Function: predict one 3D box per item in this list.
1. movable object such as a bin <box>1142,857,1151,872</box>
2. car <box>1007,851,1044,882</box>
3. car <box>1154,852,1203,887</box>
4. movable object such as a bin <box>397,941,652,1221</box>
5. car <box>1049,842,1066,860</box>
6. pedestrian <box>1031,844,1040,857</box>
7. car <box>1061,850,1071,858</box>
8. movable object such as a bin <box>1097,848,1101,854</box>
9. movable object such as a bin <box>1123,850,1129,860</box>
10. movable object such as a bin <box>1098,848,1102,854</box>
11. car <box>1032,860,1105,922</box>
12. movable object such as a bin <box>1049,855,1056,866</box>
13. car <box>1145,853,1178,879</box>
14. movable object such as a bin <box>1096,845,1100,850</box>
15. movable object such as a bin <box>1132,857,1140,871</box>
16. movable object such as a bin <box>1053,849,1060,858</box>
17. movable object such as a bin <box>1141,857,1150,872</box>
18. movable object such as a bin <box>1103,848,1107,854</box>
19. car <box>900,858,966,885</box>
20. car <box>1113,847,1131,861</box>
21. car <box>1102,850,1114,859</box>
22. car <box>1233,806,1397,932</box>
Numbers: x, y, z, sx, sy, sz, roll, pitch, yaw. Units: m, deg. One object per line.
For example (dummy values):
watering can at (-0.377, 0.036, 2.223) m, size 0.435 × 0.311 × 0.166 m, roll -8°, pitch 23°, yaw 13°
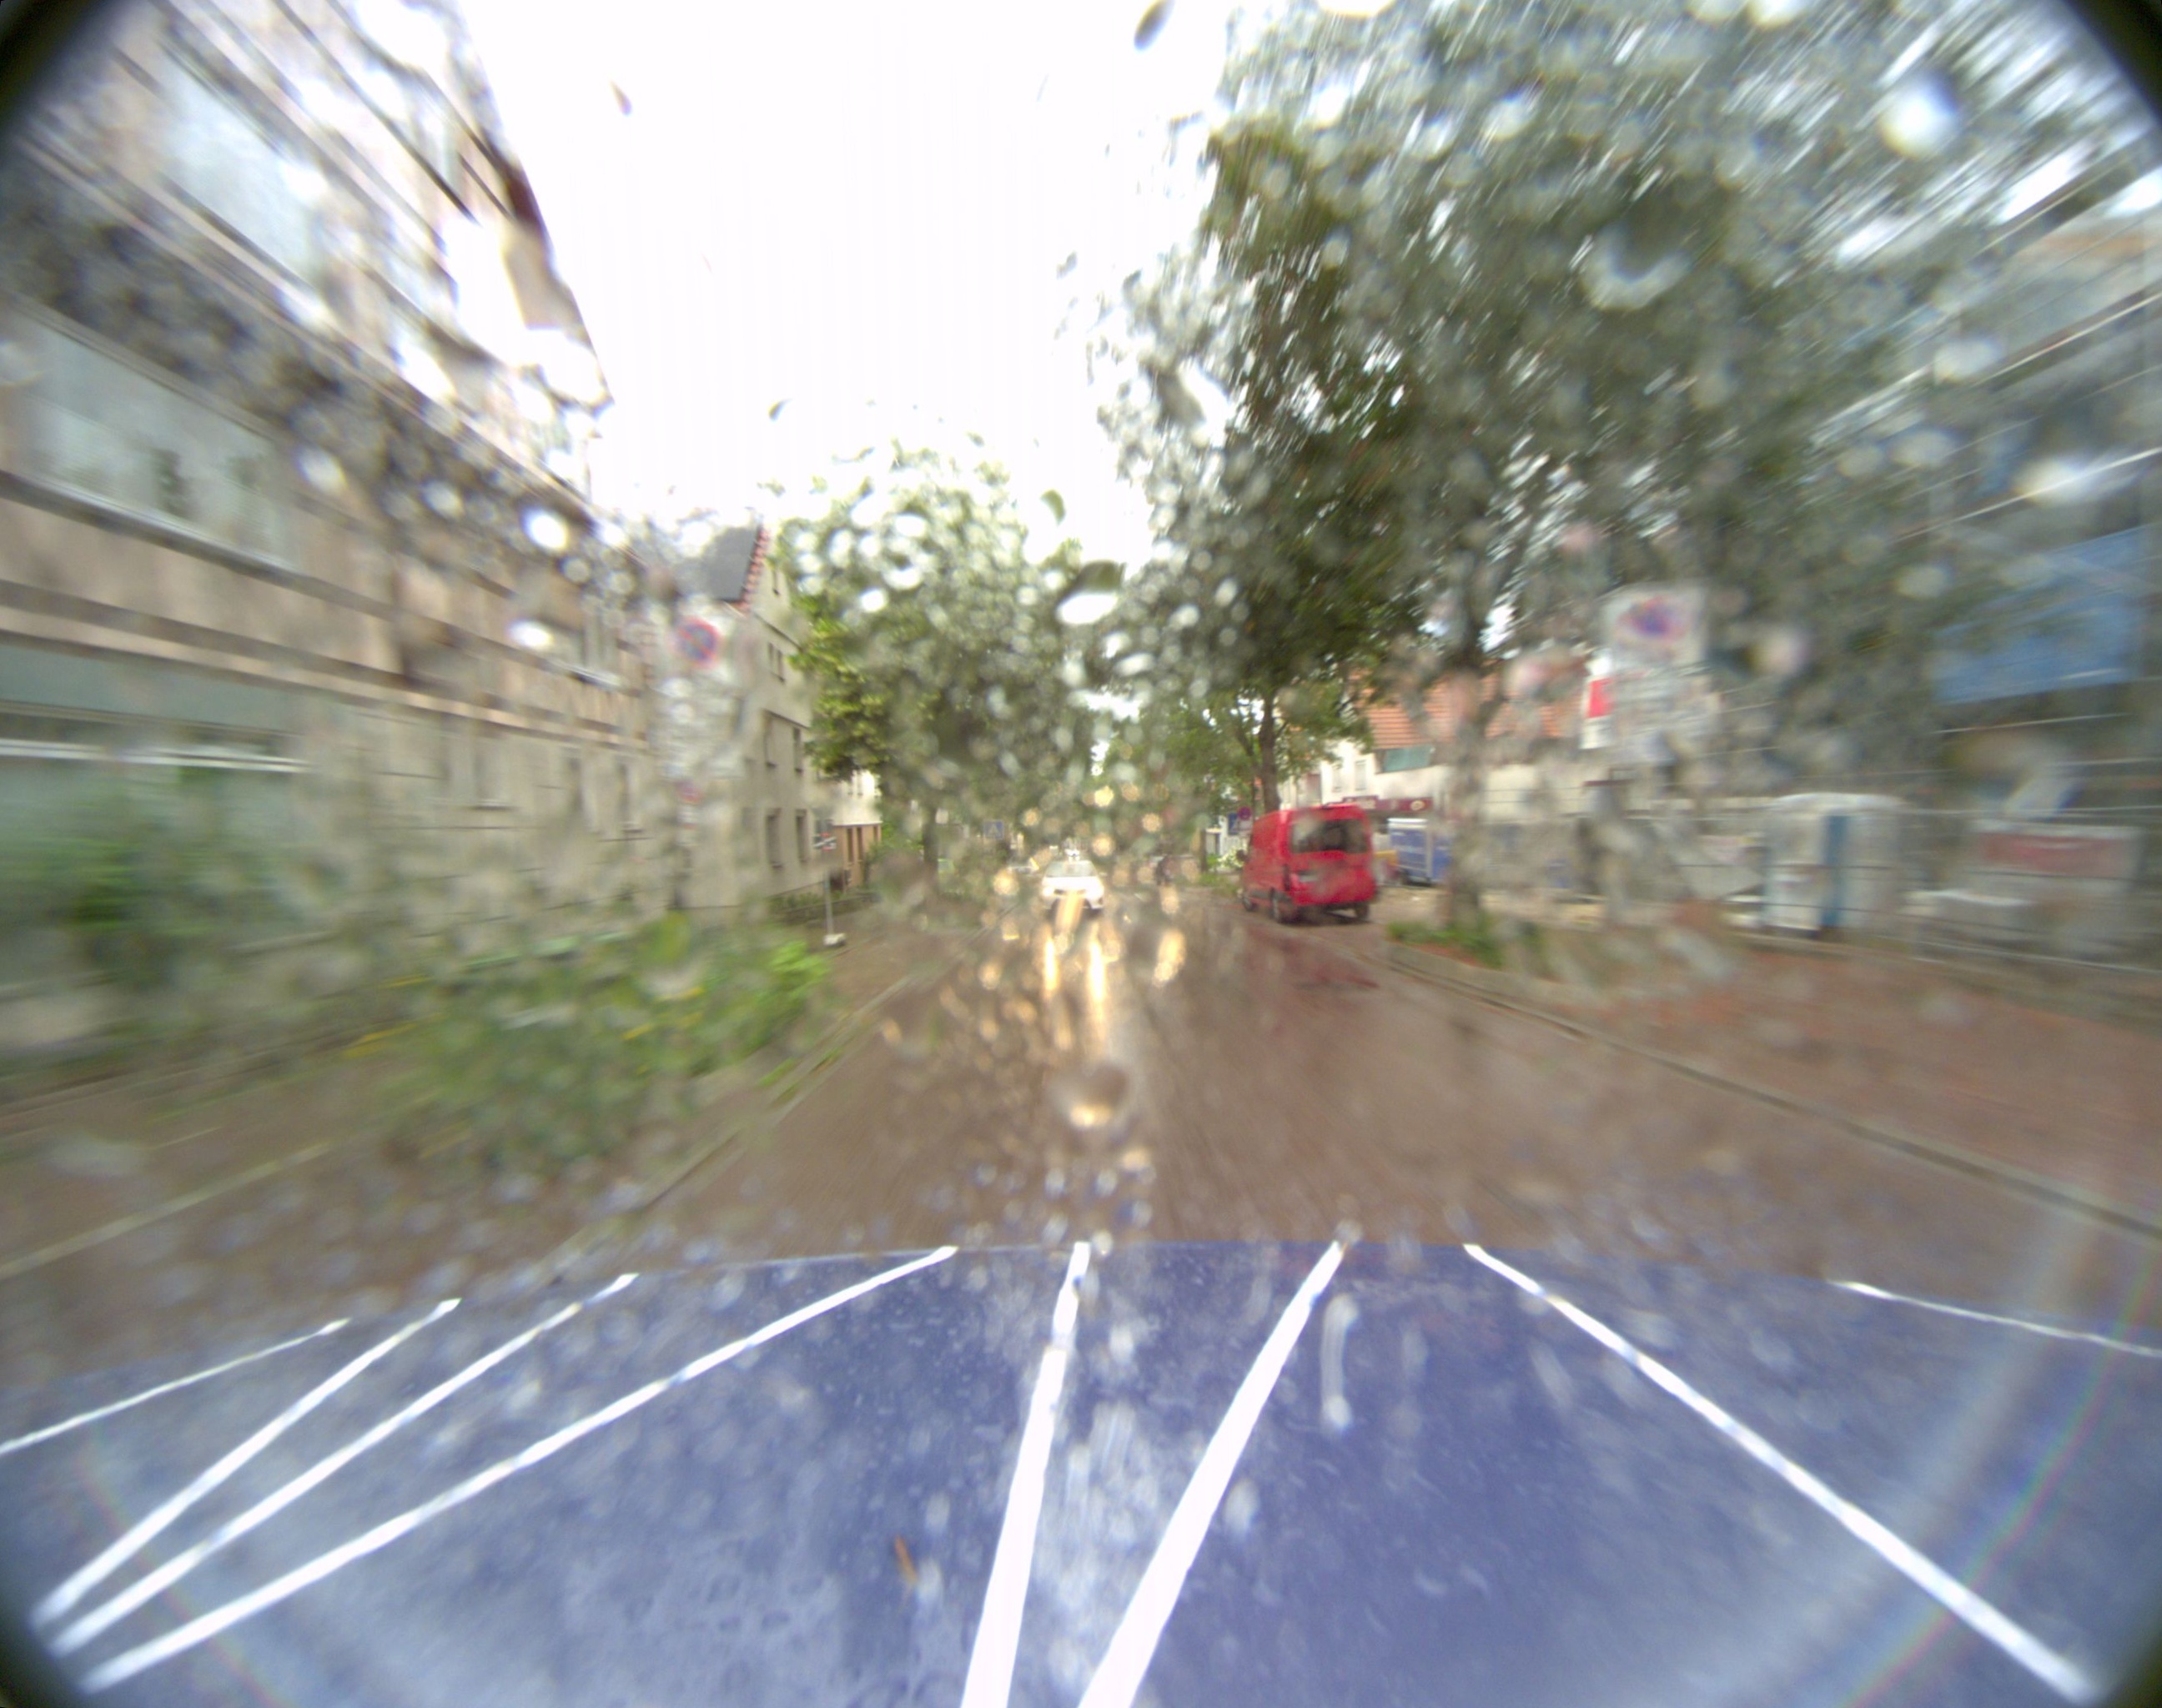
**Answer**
movable object such as a bin at (4.993, 0.804, 58.231) m, size 0.612 × 1.104 × 0.564 m, roll -1°, pitch 1°, yaw 1°
car at (-3.406, 0.719, 47.230) m, size 1.919 × 1.782 × 4.487 m, roll -2°, pitch 1°, yaw 0°
car at (4.794, 0.717, 37.871) m, size 1.776 × 1.544 × 3.999 m, roll -3°, pitch 0°, yaw -2°
movable object such as a bin at (-2.807, 1.104, 3.915) m, size 0.723 × 1.206 × 0.727 m, roll -2°, pitch 1°, yaw 0°
car at (-3.245, -0.456, 104.376) m, size 2.146 × 2.446 × 5.434 m, roll -2°, pitch 1°, yaw 0°
pedestrian at (-5.944, -0.480, 98.595) m, size 0.955 × 1.642 × 0.794 m, roll 0°, pitch 2°, yaw 13°
car at (-2.687, -0.009, 133.586) m, size 1.685 × 1.391 × 3.794 m, roll -1°, pitch 1°, yaw -1°
movable object such as a bin at (3.465, -0.567, 147.527) m, size 0.665 × 1.068 × 0.596 m, roll -1°, pitch 2°, yaw 4°
movable object such as a bin at (4.631, 0.104, 77.946) m, size 0.596 × 1.056 × 0.545 m, roll -4°, pitch 1°, yaw 3°
movable object such as a bin at (3.720, -0.550, 146.768) m, size 0.665 × 1.061 × 0.596 m, roll -1°, pitch 2°, yaw 4°
car at (-0.260, 0.957, 21.279) m, size 1.828 × 1.451 × 3.875 m, roll -2°, pitch 1°, yaw 2°
movable object such as a bin at (-2.779, 0.644, 75.291) m, size 0.645 × 1.076 × 0.540 m, roll -2°, pitch 1°, yaw -4°
car at (4.978, 0.715, 47.356) m, size 1.651 × 1.524 × 3.865 m, roll -3°, pitch 0°, yaw 2°
movable object such as a bin at (3.727, -1.367, 167.324) m, size 0.618 × 1.053 × 0.568 m, roll -4°, pitch 1°, yaw -2°
movable object such as a bin at (4.270, 0.773, 59.080) m, size 0.644 × 1.104 × 0.536 m, roll -1°, pitch 1°, yaw 1°
movable object such as a bin at (-3.076, -0.056, 95.872) m, size 0.799 × 1.069 × 0.878 m, roll -2°, pitch 1°, yaw -1°
movable object such as a bin at (5.011, 0.826, 58.884) m, size 0.612 × 1.104 × 0.564 m, roll -1°, pitch 1°, yaw 1°
movable object such as a bin at (4.658, -0.562, 146.673) m, size 0.665 × 1.068 × 0.596 m, roll -1°, pitch 2°, yaw 4°
car at (-8.119, 0.958, 41.963) m, size 3.374 × 1.422 × 1.630 m, roll 0°, pitch 1°, yaw -4°
car at (4.603, -0.028, 85.323) m, size 1.777 × 1.381 × 4.545 m, roll -3°, pitch 1°, yaw 1°
car at (4.300, 0.113, 122.308) m, size 1.754 × 1.388 × 3.795 m, roll -2°, pitch 1°, yaw 0°
car at (5.294, 0.316, 18.224) m, size 2.309 × 2.468 × 5.786 m, roll -2°, pitch 0°, yaw 2°
